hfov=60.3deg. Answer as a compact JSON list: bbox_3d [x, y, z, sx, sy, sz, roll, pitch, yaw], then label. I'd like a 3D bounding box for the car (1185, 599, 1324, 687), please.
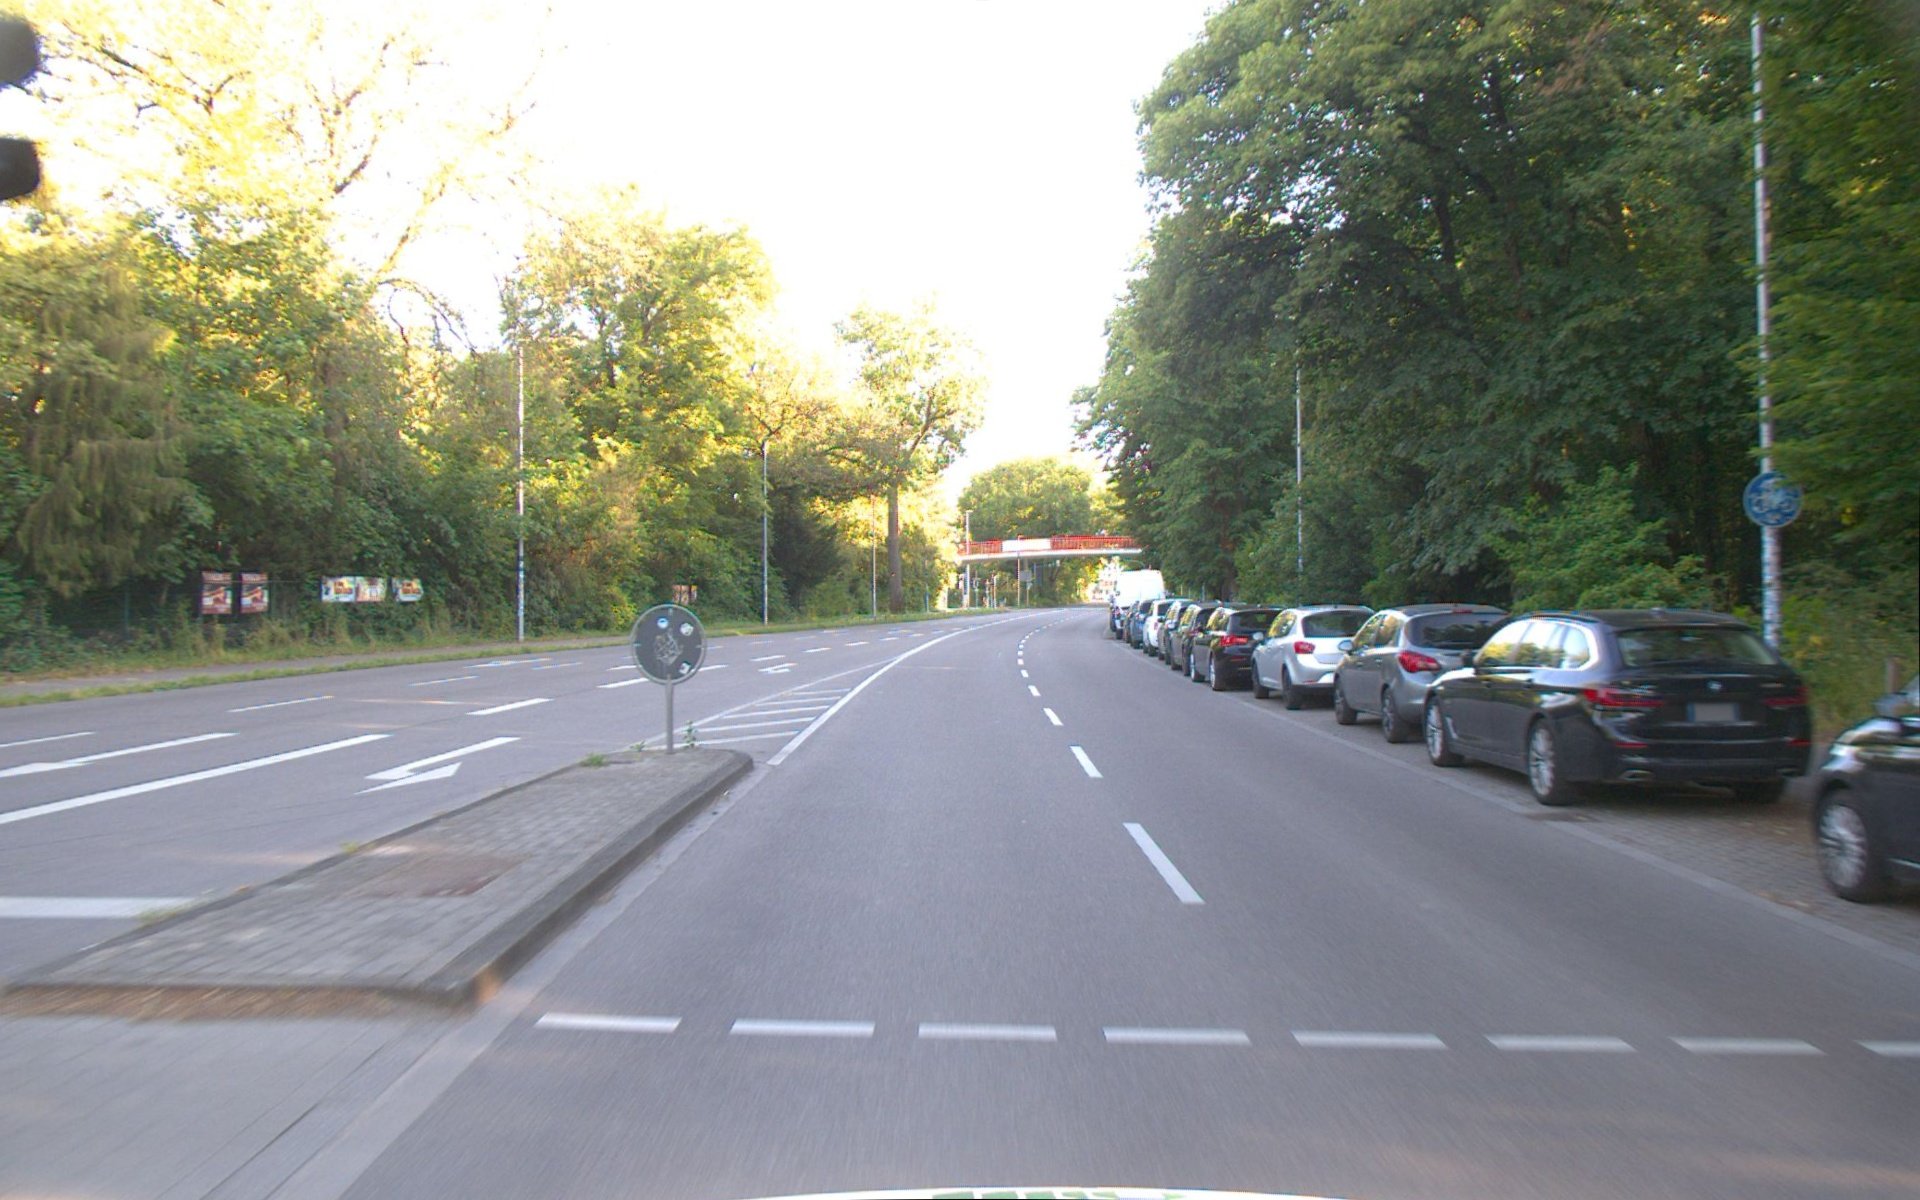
[{"bbox_3d":[5.228,0.730,29.922,1.683,1.436,4.487,-1,0,0],"label":"car"}]

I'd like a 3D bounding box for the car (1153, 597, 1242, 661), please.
[{"bbox_3d":[5.778,0.673,40.674,1.682,1.436,4.908,-1,0,3],"label":"car"}]

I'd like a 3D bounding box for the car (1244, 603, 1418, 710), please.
[{"bbox_3d":[5.495,0.793,24.977,1.683,1.436,4.124,-1,0,0],"label":"car"}]

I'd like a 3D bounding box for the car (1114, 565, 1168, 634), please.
[{"bbox_3d":[6.939,-0.013,63.753,1.864,2.466,5.579,-1,0,5],"label":"car"}]

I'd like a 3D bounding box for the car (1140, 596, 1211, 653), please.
[{"bbox_3d":[5.976,0.663,46.147,1.642,1.489,3.690,-1,0,3],"label":"car"}]

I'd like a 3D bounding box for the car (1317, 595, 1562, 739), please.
[{"bbox_3d":[5.579,0.726,19.775,1.683,1.494,4.202,-1,0,0],"label":"car"}]

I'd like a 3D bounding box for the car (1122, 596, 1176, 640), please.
[{"bbox_3d":[6.548,0.613,57.690,1.642,1.425,4.653,-1,0,4],"label":"car"}]

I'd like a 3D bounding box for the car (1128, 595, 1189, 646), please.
[{"bbox_3d":[6.196,0.621,51.951,1.642,1.489,4.068,-1,0,4],"label":"car"}]

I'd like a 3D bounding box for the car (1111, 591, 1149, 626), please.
[{"bbox_3d":[7.853,0.394,76.700,1.642,1.562,4.356,-1,0,5],"label":"car"}]

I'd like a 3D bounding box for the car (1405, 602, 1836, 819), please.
[{"bbox_3d":[5.344,0.789,14.202,1.683,1.494,4.987,-1,0,0],"label":"car"}]

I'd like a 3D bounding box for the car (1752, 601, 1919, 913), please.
[{"bbox_3d":[5.476,0.751,7.775,1.683,1.494,3.756,-1,0,0],"label":"car"}]

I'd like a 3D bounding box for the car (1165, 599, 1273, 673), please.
[{"bbox_3d":[5.450,0.730,35.309,1.682,1.436,4.488,-1,0,1],"label":"car"}]
